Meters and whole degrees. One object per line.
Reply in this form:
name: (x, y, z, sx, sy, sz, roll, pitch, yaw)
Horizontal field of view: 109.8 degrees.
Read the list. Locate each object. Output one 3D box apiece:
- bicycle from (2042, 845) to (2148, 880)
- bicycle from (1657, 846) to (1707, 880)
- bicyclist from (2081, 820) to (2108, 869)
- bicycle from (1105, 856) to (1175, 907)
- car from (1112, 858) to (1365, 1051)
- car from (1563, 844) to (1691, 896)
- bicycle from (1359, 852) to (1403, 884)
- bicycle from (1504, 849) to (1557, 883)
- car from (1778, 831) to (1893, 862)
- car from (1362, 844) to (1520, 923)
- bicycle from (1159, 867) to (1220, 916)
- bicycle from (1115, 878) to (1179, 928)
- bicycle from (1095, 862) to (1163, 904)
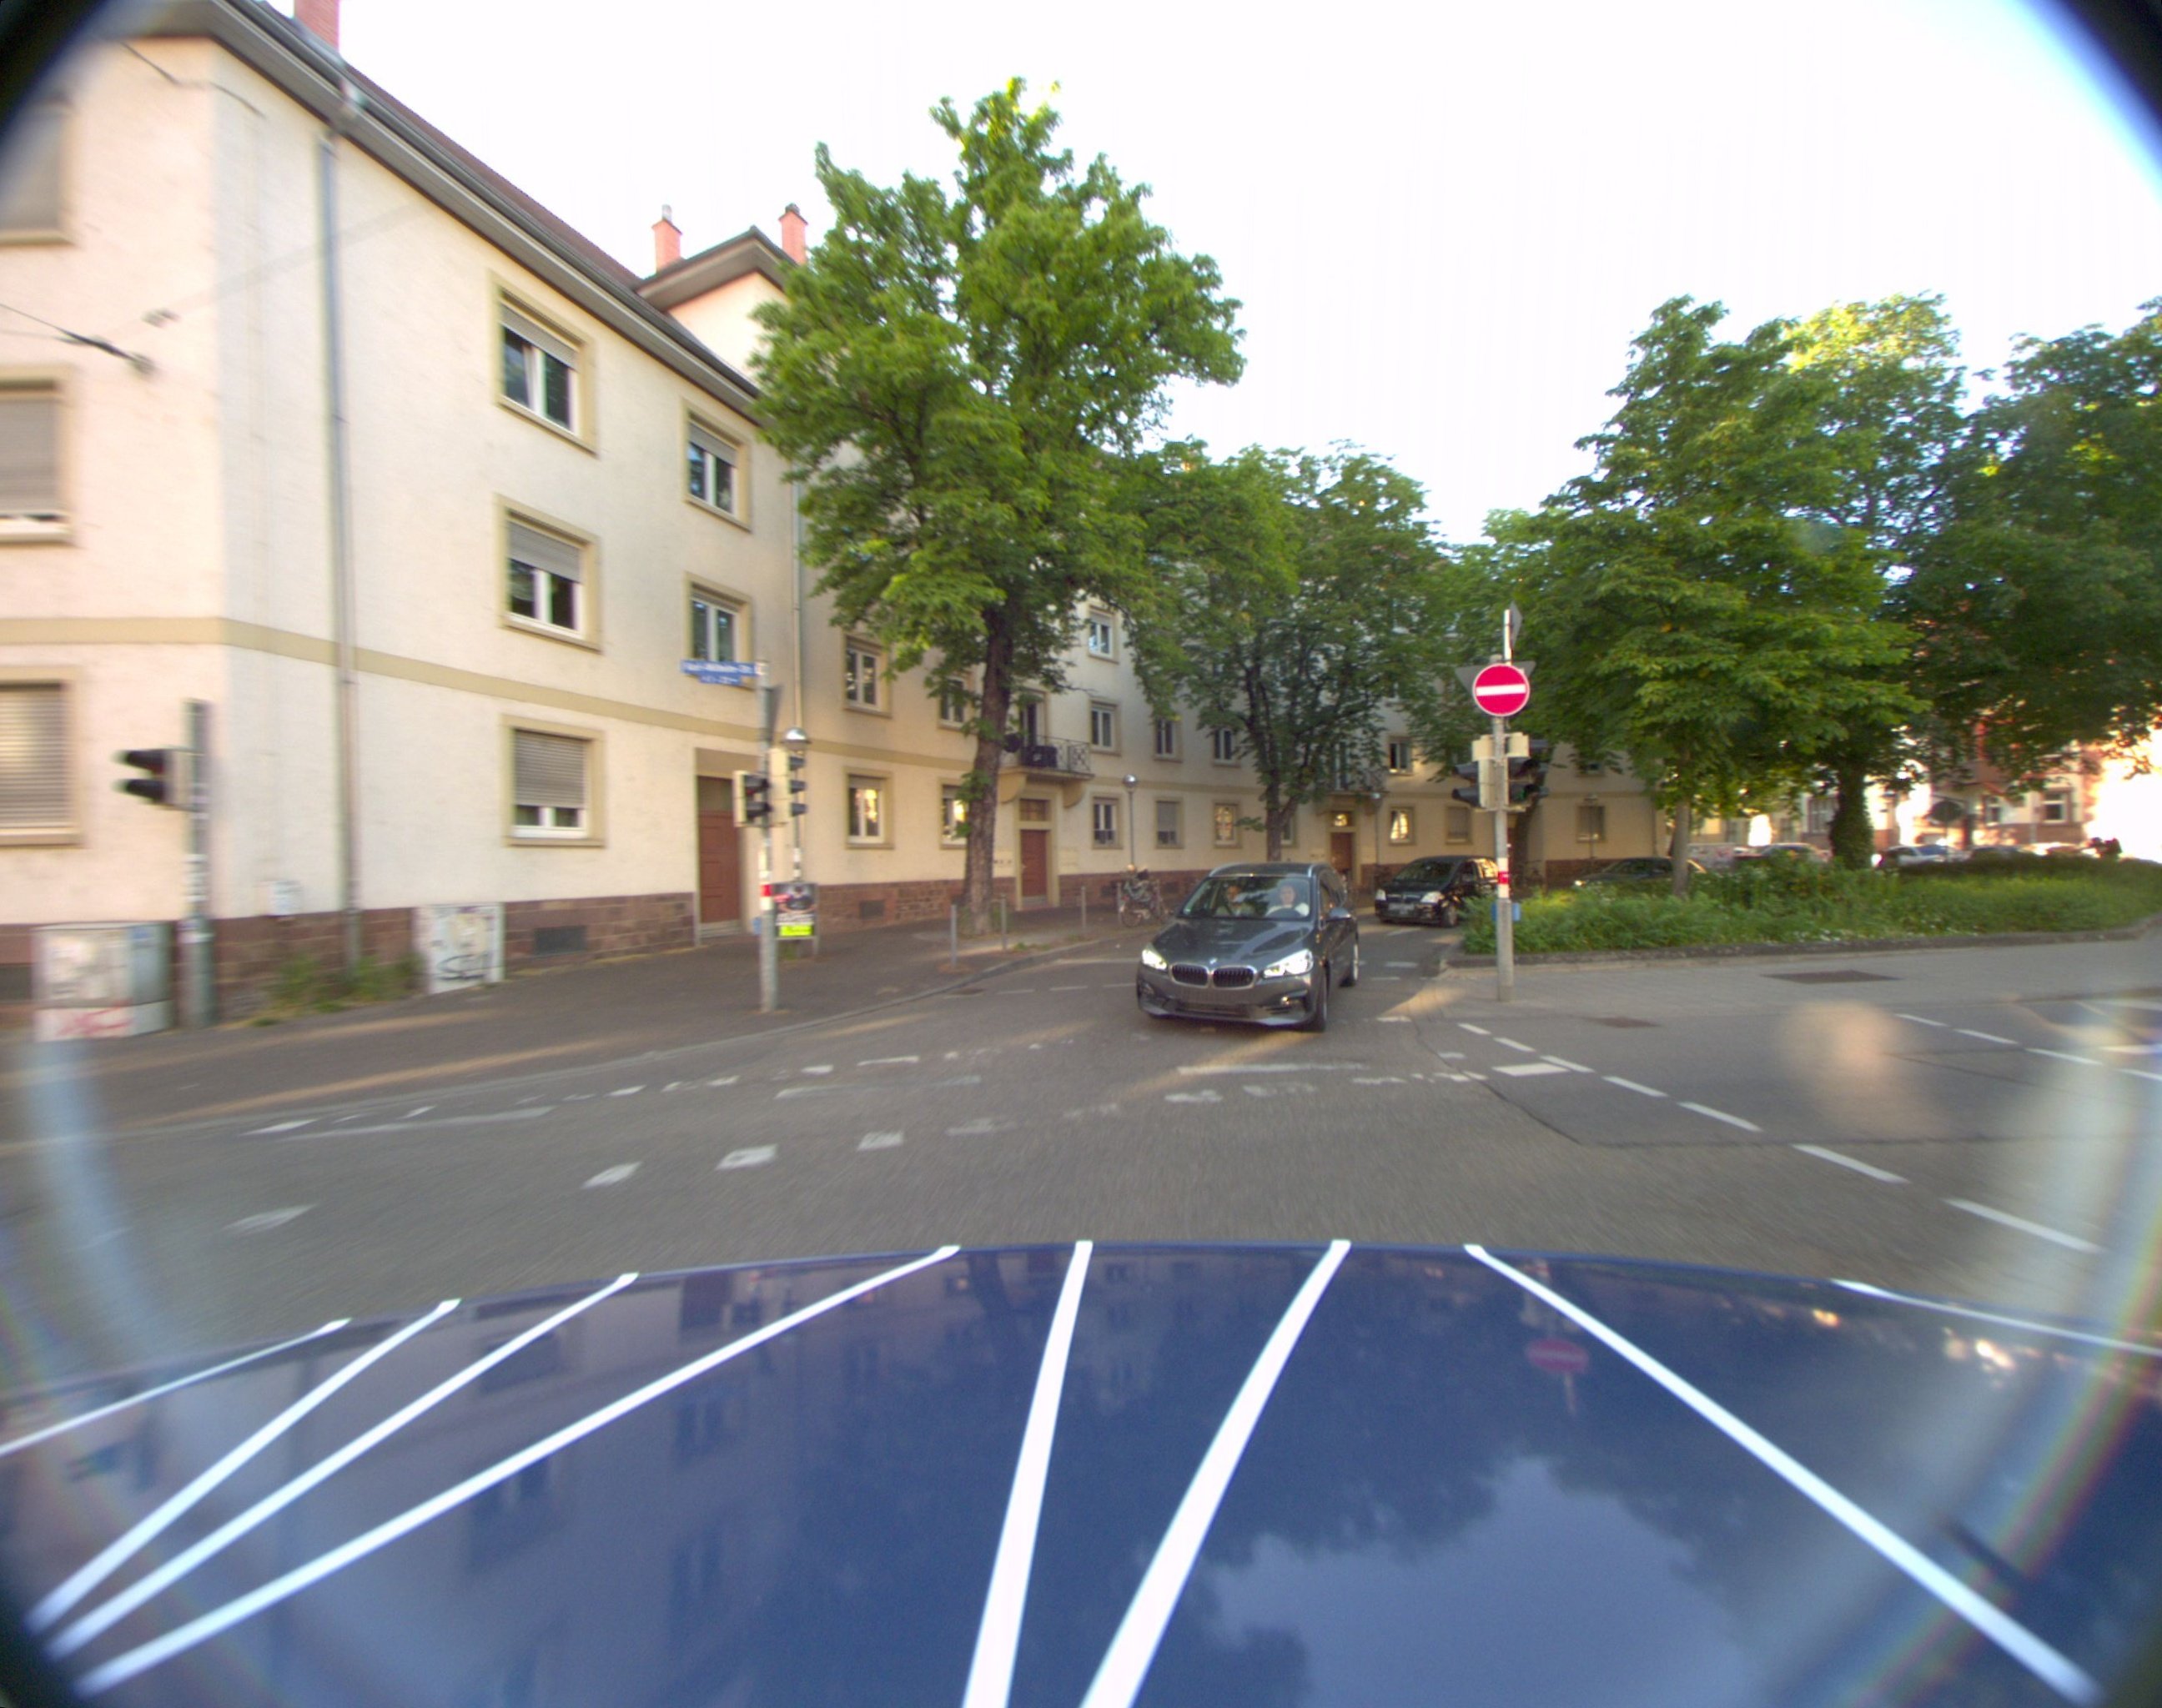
bicycle: (32.329, 0.276, 24.262, 0.639, 1.051, 1.977, -2, 0, -32)
bicycle: (24.268, 0.355, 30.683, 1.905, 1.297, 0.766, -2, 1, -23)
bicyclist: (32.319, -0.304, 24.232, 0.496, 1.564, 0.500, -2, 1, -34)
bicycle: (1.635, 0.726, 20.891, 1.970, 1.270, 0.717, -2, 2, -41)
car: (2.059, 0.878, 8.695, 1.790, 1.569, 4.268, -1, 0, 26)
car: (16.561, 0.437, 23.034, 3.693, 1.400, 1.677, -2, 2, -28)
bicycle: (11.143, 0.521, 28.211, 1.862, 1.112, 0.800, -2, 0, -44)
bicycle: (16.751, 0.435, 28.309, 1.916, 1.216, 0.718, -2, 1, -23)
car: (37.969, -0.366, 38.339, 3.797, 1.417, 1.678, -2, 0, 15)
car: (8.429, 0.605, 17.731, 3.694, 1.619, 1.676, -1, 2, -34)
bicycle: (2.739, 0.918, 19.017, 1.744, 1.101, 0.526, -1, 3, -44)
bicycle: (1.565, 1.123, 17.843, 1.639, 1.058, 0.480, -1, 2, -42)
bicycle: (1.380, 0.808, 21.556, 1.970, 1.101, 0.667, -1, 0, -39)
